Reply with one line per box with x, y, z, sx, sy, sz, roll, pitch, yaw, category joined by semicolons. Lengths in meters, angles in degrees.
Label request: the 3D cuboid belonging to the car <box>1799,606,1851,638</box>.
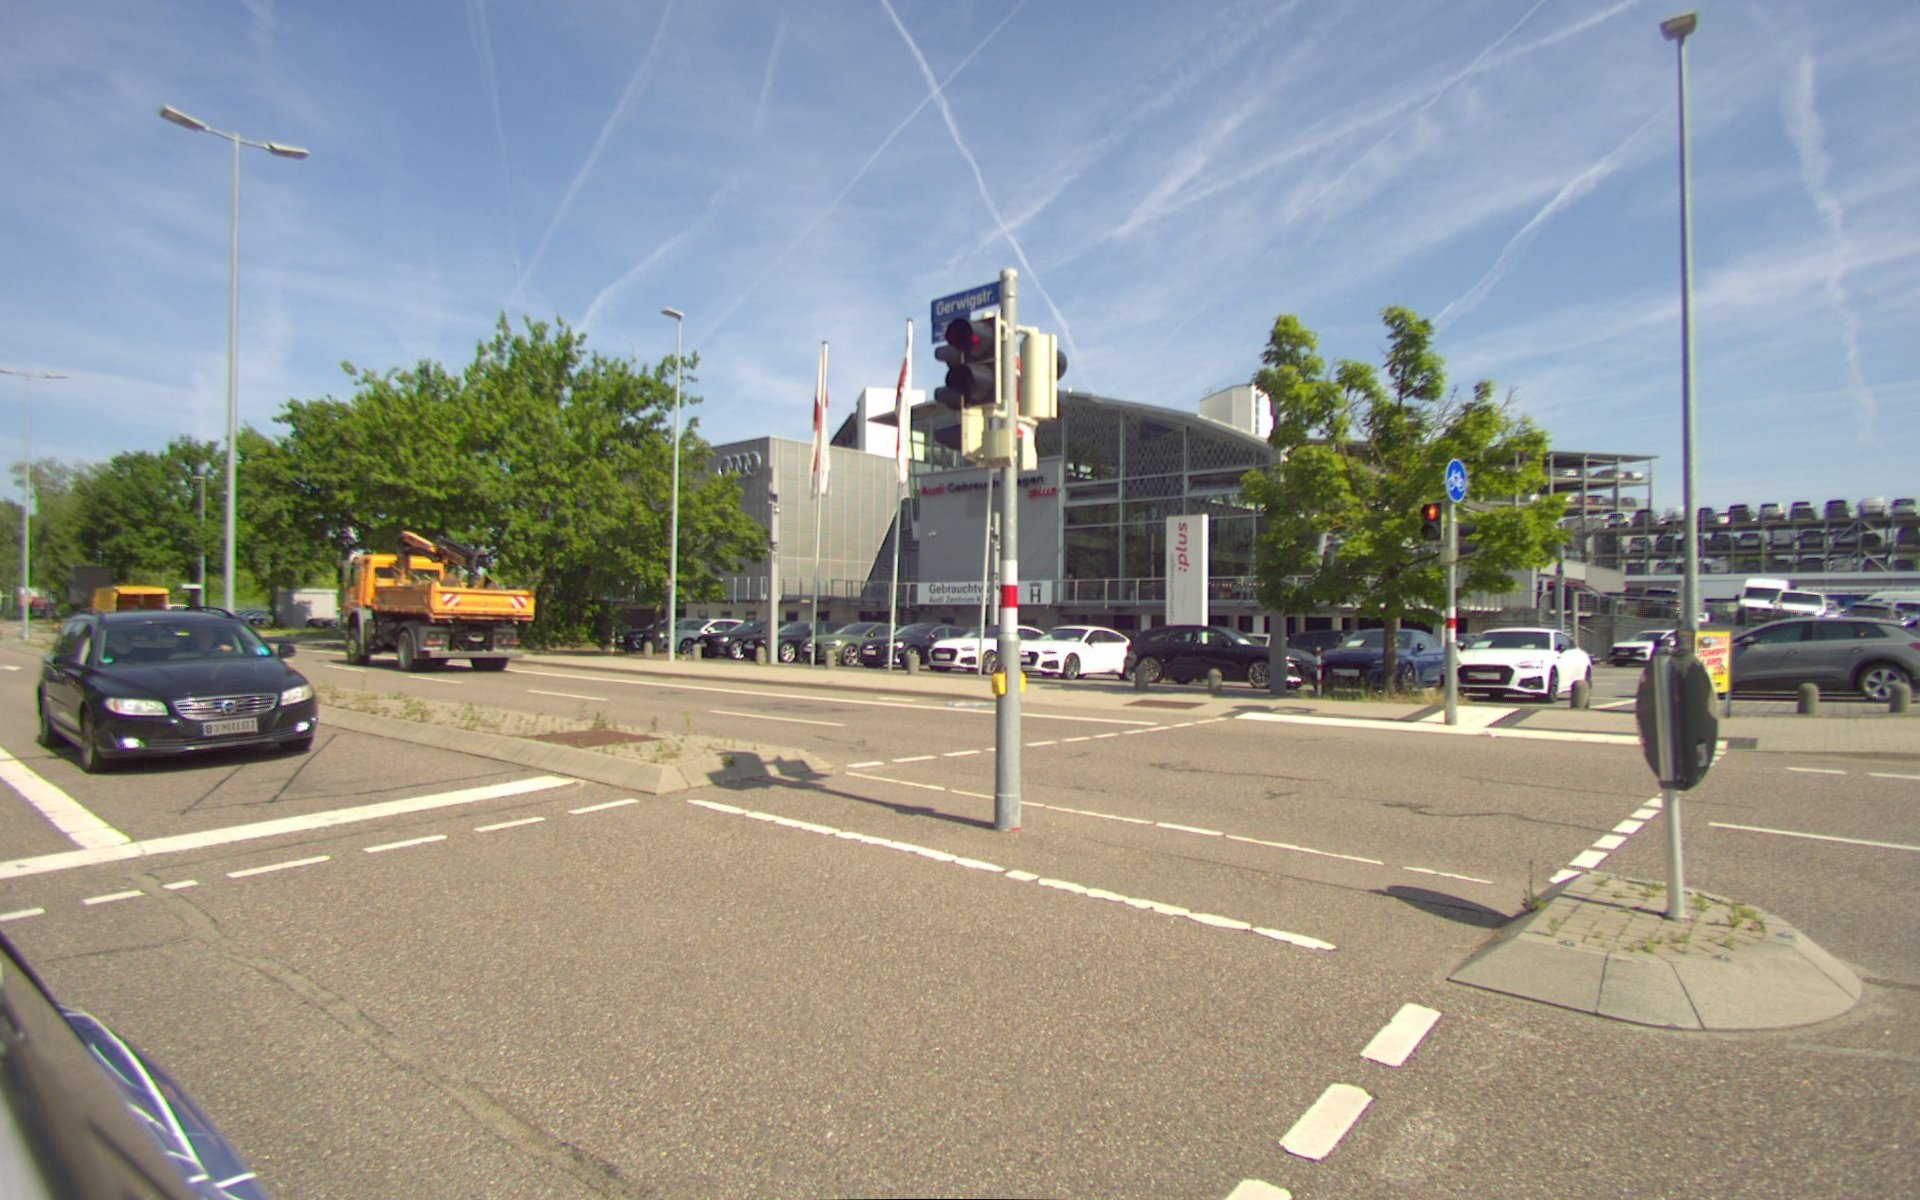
45.275;1.128;52.944;2.000;1.586;3.930;-1;0;42;car

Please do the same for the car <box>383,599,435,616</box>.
-54.224;0.755;99.684;1.690;1.510;4.141;-1;-4;42;car

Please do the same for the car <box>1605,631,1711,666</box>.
30.338;2.101;43.991;3.958;1.453;1.803;1;-1;-19;car

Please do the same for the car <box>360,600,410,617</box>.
-59.471;0.899;104.698;1.690;1.510;4.141;-1;-4;42;car

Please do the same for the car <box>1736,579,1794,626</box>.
43.479;0.141;54.633;2.088;2.360;5.474;-1;-1;42;car

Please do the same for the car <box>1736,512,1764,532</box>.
84.585;-8.355;108.371;2.037;1.729;3.944;0;-1;42;car

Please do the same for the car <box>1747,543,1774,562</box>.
86.267;-5.107;109.021;2.037;1.729;3.944;0;-1;42;car

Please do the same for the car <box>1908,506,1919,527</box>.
95.985;-8.379;100.882;2.037;1.729;3.944;0;-1;42;car

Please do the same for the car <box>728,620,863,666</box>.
-5.403;1.466;33.630;1.828;1.365;4.237;0;-4;40;car

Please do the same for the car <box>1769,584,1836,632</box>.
37.458;0.318;45.068;2.087;1.922;4.488;4;3;39;car

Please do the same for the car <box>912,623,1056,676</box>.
0.727;1.404;28.042;1.868;1.329;3.945;-1;-4;41;car

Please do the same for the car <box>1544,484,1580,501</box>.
81.448;-14.535;136.941;3.993;1.729;2.012;0;-1;37;car

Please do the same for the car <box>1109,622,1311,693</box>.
5.921;1.302;24.280;4.424;1.507;1.778;-1;-1;42;car

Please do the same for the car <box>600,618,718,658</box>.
-11.521;1.480;38.978;1.808;1.412;3.983;0;-4;40;car

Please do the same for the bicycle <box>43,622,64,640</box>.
-60.996;2.062;68.092;1.763;1.159;0.567;0;-2;31;bicycle

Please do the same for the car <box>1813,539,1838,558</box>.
94.947;-5.639;111.011;2.037;1.729;3.944;0;-1;42;car

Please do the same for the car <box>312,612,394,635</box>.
-38.671;1.526;64.559;1.690;1.256;4.141;-1;-4;42;car

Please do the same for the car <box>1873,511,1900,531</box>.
98.845;-8.450;107.980;2.037;1.729;3.944;0;-1;42;car

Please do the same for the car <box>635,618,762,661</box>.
-9.531;1.481;37.127;1.801;1.405;4.172;-1;-4;41;car

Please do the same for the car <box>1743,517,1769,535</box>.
90.261;-8.386;114.743;2.037;1.729;3.944;0;-1;42;car

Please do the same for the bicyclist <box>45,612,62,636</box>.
-60.960;1.634;68.067;0.907;1.608;0.572;0;-2;31;bicyclist

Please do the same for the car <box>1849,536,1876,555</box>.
95.067;-5.684;106.582;2.037;1.729;3.944;0;-1;42;car

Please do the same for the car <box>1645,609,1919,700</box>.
16.476;1.087;20.004;4.594;1.626;1.794;-4;-4;42;car

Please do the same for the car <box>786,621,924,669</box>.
-3.221;1.427;31.605;1.854;1.345;4.131;-1;-4;41;car

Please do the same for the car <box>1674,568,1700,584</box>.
83.514;-2.753;116.204;2.037;1.729;3.944;0;-1;42;car

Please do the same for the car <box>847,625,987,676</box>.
-1.200;1.501;29.575;1.837;1.329;3.944;-1;-4;42;car

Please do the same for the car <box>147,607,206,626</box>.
-73.582;1.557;95.077;1.690;1.510;4.141;-1;-4;42;car

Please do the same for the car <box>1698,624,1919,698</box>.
18.534;1.297;21.706;4.198;1.453;1.769;-4;-4;41;car

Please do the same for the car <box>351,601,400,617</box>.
-61.428;0.971;106.391;1.690;1.510;4.141;-1;-4;42;car

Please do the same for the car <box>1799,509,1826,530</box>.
89.530;-8.441;106.238;2.037;1.729;3.944;0;-1;42;car

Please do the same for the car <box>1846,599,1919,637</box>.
52.079;1.004;55.800;4.748;2.029;1.973;-1;-2;41;car

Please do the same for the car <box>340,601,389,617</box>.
-63.488;0.991;107.894;1.690;1.510;4.141;-1;-4;42;car

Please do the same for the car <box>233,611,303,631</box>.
-53.250;1.601;77.901;1.690;1.333;4.141;-1;-4;42;car

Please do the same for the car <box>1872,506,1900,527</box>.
94.025;-8.428;102.765;2.037;1.729;3.944;0;-1;42;car

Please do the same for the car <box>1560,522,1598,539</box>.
79.403;-8.898;129.790;3.996;2.028;1.974;0;2;39;car

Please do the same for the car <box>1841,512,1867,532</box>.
96.991;-8.417;109.740;2.037;1.729;3.944;0;-1;42;car

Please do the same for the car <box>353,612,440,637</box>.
-33.006;1.452;59.354;1.690;1.309;4.141;-1;-4;42;car

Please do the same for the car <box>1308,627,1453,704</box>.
8.763;1.274;20.932;1.762;1.413;3.796;-1;-2;39;car

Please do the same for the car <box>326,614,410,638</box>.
-36.733;1.621;62.824;1.690;1.335;4.141;-1;-4;42;car

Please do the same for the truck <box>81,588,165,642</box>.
-43.607;0.772;52.664;6.669;2.645;2.350;-1;-1;41;truck

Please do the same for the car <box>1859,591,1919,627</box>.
54.481;0.541;57.665;4.748;2.029;1.973;-1;-2;41;car

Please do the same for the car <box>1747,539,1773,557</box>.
90.364;-5.809;114.234;2.037;1.729;3.944;0;-1;42;car

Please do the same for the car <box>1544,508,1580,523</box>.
81.432;-11.419;136.899;3.993;1.729;2.012;0;-1;37;car

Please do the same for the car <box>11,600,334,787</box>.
-8.566;0.808;10.823;4.867;1.533;1.858;-1;1;42;car

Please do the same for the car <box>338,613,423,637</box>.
-34.983;1.512;61.175;1.690;1.265;4.141;-1;-4;42;car

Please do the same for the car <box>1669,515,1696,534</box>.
79.720;-8.301;111.628;2.037;1.729;3.944;0;-1;42;car

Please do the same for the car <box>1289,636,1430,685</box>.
12.124;1.783;30.807;3.681;1.316;1.588;0;-1;41;car

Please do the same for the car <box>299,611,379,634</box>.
-40.551;1.501;66.159;1.690;1.333;4.141;-1;-4;42;car

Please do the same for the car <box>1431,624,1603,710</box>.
10.787;1.199;19.462;1.900;1.443;4.324;-1;-2;43;car

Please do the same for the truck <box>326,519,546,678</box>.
-14.252;0.055;27.204;7.579;3.708;2.716;0;-3;43;truck

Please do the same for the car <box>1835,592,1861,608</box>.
96.500;0.031;109.992;2.037;1.729;3.944;0;-1;42;car

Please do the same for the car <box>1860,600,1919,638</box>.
50.999;1.021;53.704;4.748;2.029;1.973;-1;-2;41;car

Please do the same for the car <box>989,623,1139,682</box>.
2.765;1.377;26.216;1.877;1.380;4.030;-1;-4;41;car

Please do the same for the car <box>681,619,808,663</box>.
-7.462;1.454;35.382;1.834;1.365;4.069;0;-4;40;car

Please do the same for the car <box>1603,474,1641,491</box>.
86.205;-15.314;131.842;3.993;1.729;2.012;0;-1;37;car

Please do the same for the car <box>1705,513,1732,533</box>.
82.351;-8.314;109.841;2.037;1.729;3.944;0;-1;42;car
